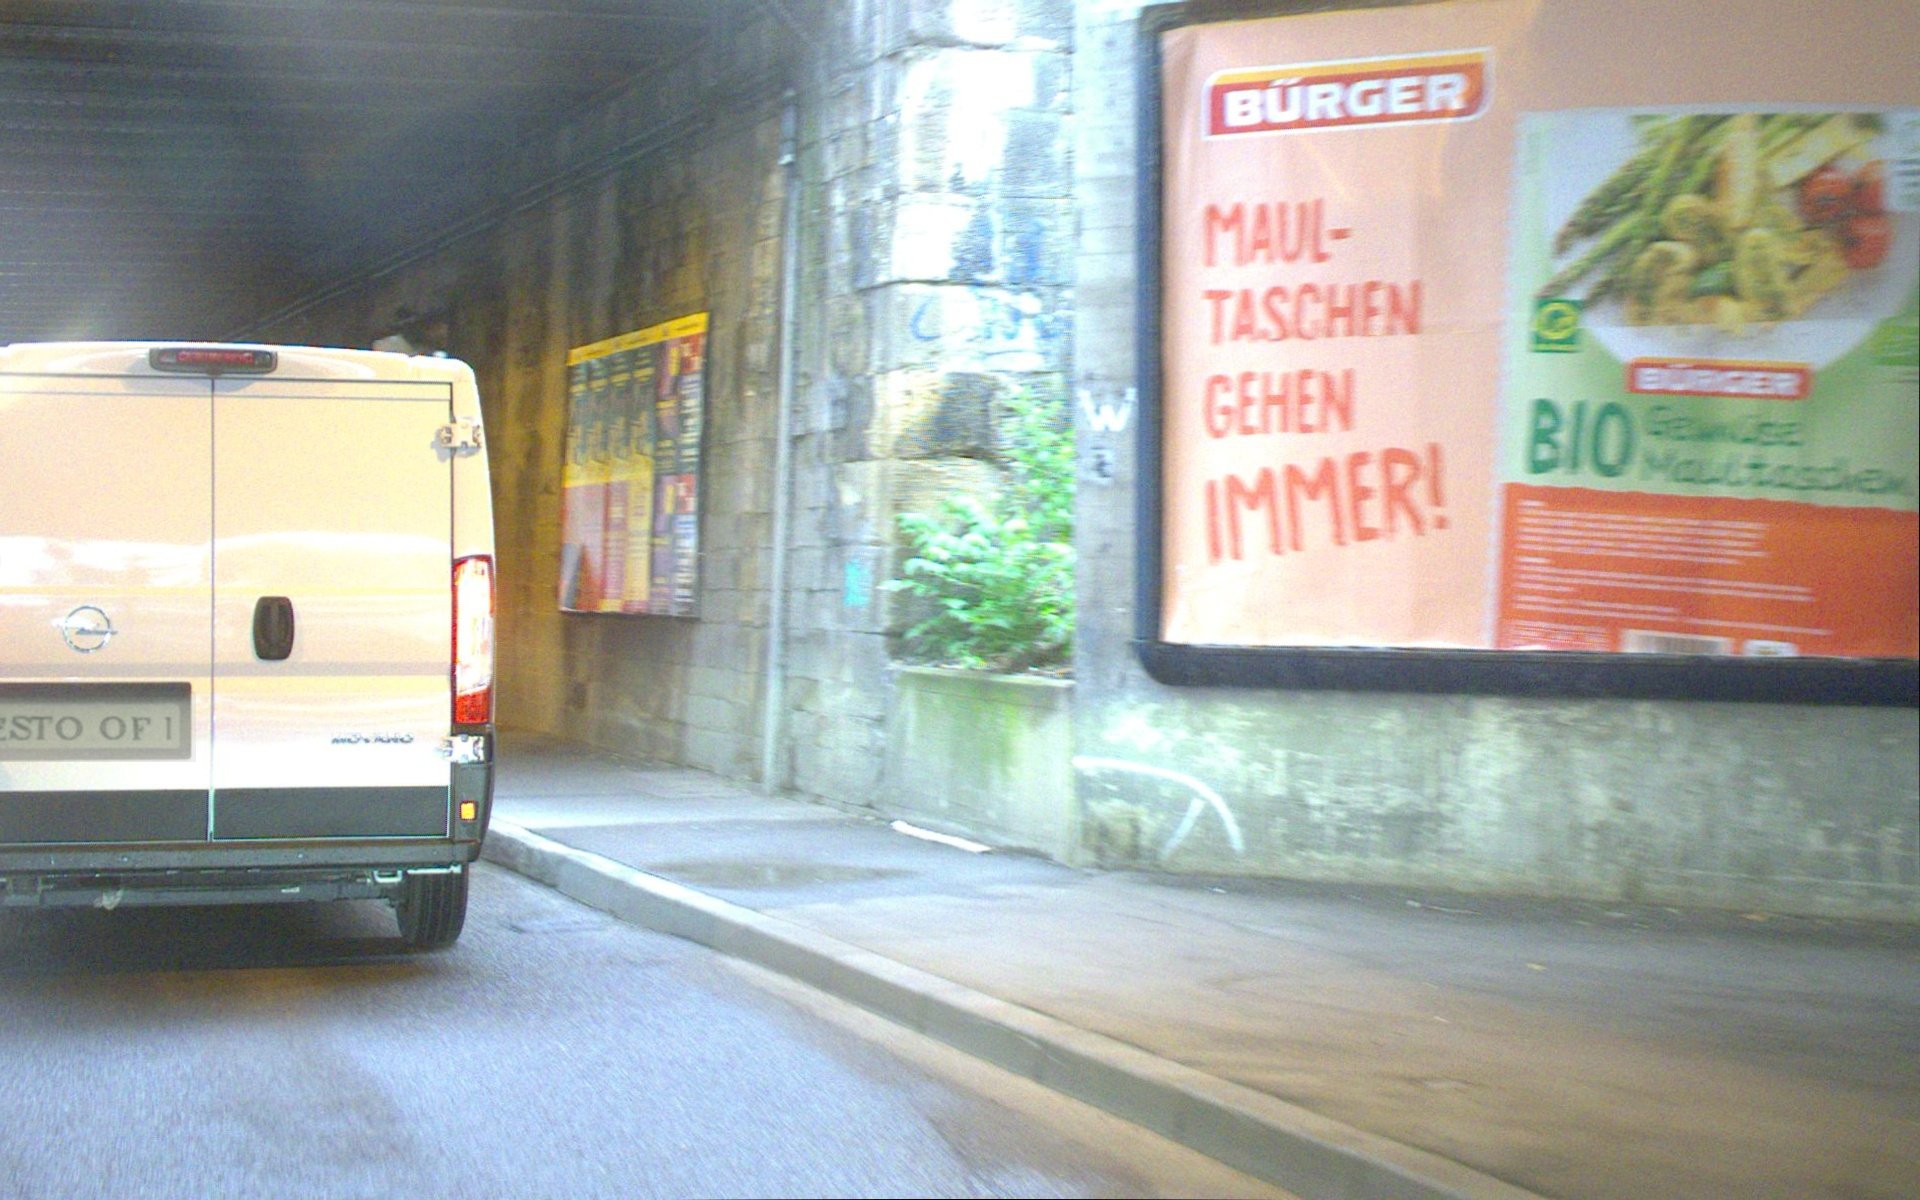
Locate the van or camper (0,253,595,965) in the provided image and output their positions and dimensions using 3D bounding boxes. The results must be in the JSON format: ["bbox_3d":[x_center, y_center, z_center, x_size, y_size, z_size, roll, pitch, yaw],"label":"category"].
[{"bbox_3d":[-3.311,0.040,14.175,2.697,2.408,4.904,-1,0,-17],"label":"van or camper"}]

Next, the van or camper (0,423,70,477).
[{"bbox_3d":[-36.581,-5.698,130.600,5.307,2.007,2.079,0,2,-14],"label":"van or camper"}]
